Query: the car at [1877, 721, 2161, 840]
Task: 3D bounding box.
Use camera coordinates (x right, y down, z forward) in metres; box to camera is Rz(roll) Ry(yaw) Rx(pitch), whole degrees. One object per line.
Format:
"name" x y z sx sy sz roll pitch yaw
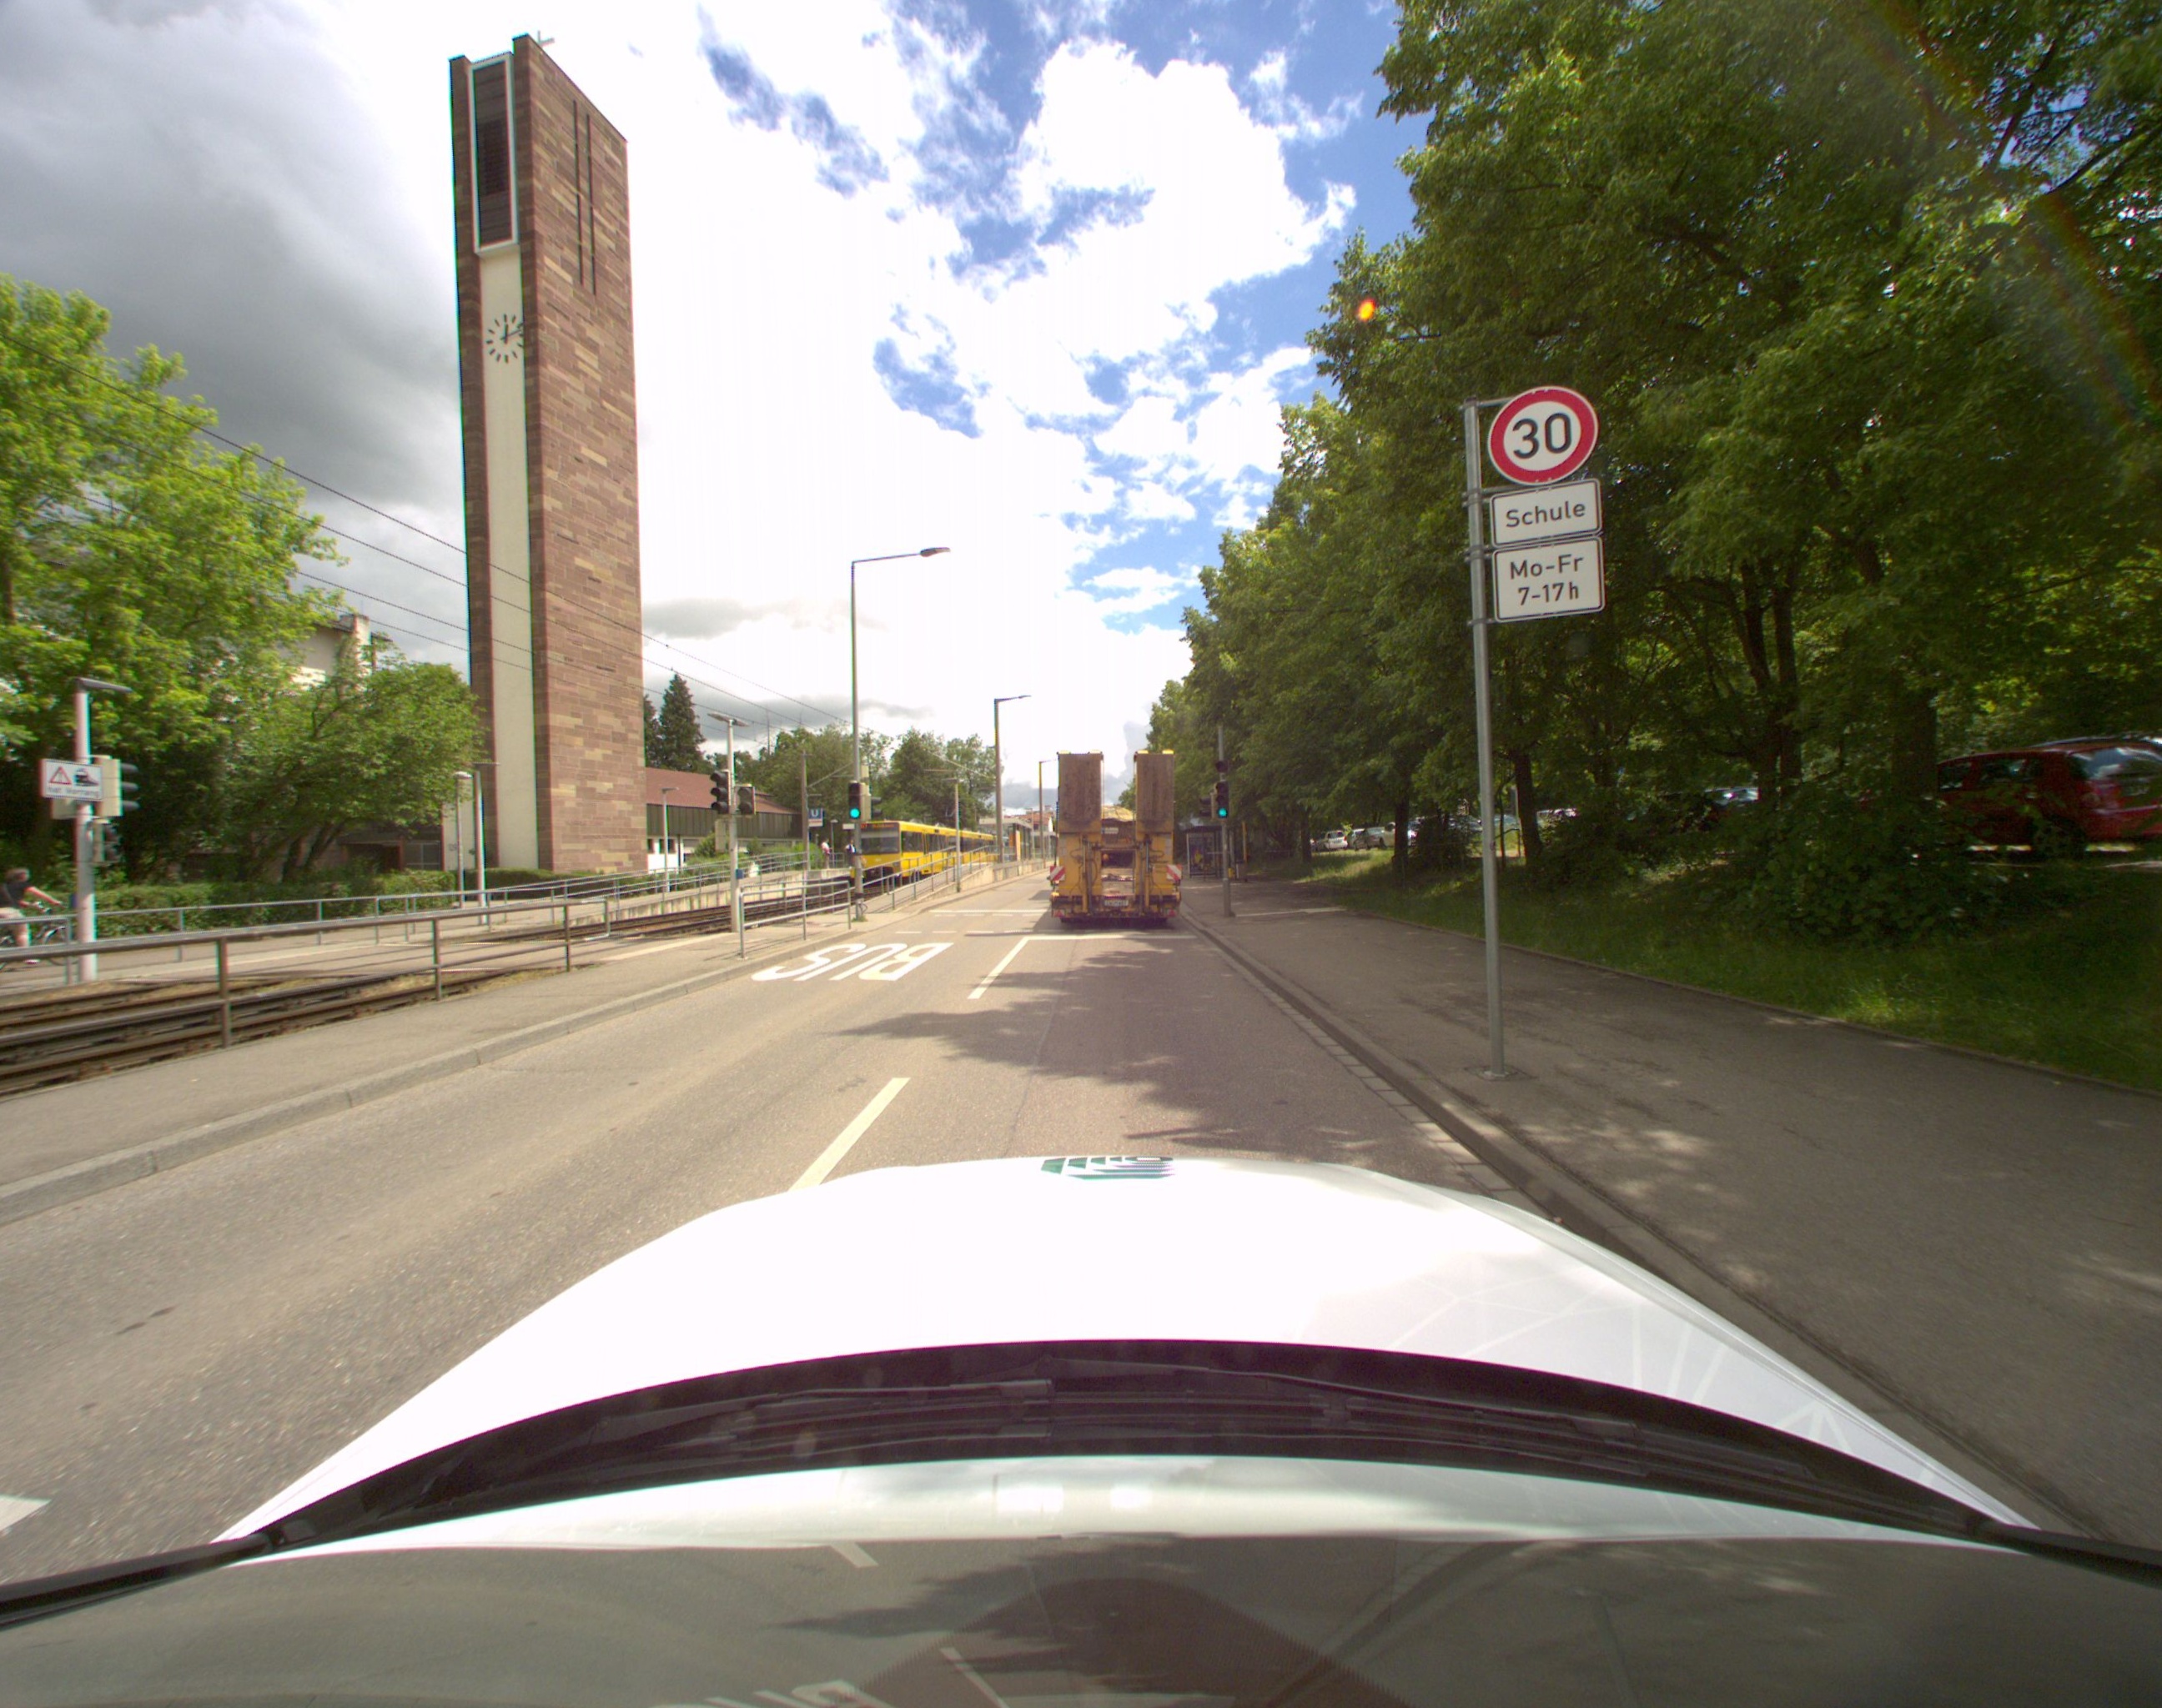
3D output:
"car" 15.597 -1.105 13.210 1.746 1.582 3.664 -4 0 1

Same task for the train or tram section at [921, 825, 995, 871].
"train or tram section" -10.253 -0.454 70.849 3.096 3.464 19.001 0 0 1

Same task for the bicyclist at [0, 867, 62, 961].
"bicyclist" -16.983 0.934 12.919 0.631 1.429 0.790 0 0 1

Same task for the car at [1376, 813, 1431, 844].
"car" 18.307 -1.412 46.420 1.463 1.555 4.436 -5 0 4

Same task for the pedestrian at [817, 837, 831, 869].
"pedestrian" -14.176 -0.042 44.923 0.582 1.778 0.576 0 0 1

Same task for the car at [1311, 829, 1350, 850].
"car" 19.295 -1.125 63.089 1.834 1.420 4.125 -4 0 2

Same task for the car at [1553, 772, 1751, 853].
"car" 12.881 -0.851 18.735 1.621 1.514 4.140 -5 0 1

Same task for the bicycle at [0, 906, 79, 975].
"bicycle" -16.986 1.369 12.559 0.635 0.993 1.929 0 0 1

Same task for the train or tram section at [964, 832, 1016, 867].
"train or tram section" -9.717 -0.467 89.977 3.096 3.464 19.204 0 0 1

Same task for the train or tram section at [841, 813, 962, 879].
"train or tram section" -10.718 -0.436 51.895 3.096 3.464 18.831 0 0 1

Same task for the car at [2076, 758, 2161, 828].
"car" 26.550 -1.500 18.833 2.052 1.624 4.100 -2 0 0

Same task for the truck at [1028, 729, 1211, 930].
"truck" 0.642 -0.482 22.437 3.392 3.732 13.732 -2 0 -1

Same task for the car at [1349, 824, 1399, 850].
"car" 18.452 -1.058 51.525 1.607 1.442 4.354 -5 0 2

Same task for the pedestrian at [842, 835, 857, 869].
"pedestrian" -14.012 -0.113 49.270 0.710 2.013 0.731 0 0 -1

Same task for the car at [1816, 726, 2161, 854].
"car" 13.177 -0.812 11.841 1.655 1.500 3.664 -4 0 1
